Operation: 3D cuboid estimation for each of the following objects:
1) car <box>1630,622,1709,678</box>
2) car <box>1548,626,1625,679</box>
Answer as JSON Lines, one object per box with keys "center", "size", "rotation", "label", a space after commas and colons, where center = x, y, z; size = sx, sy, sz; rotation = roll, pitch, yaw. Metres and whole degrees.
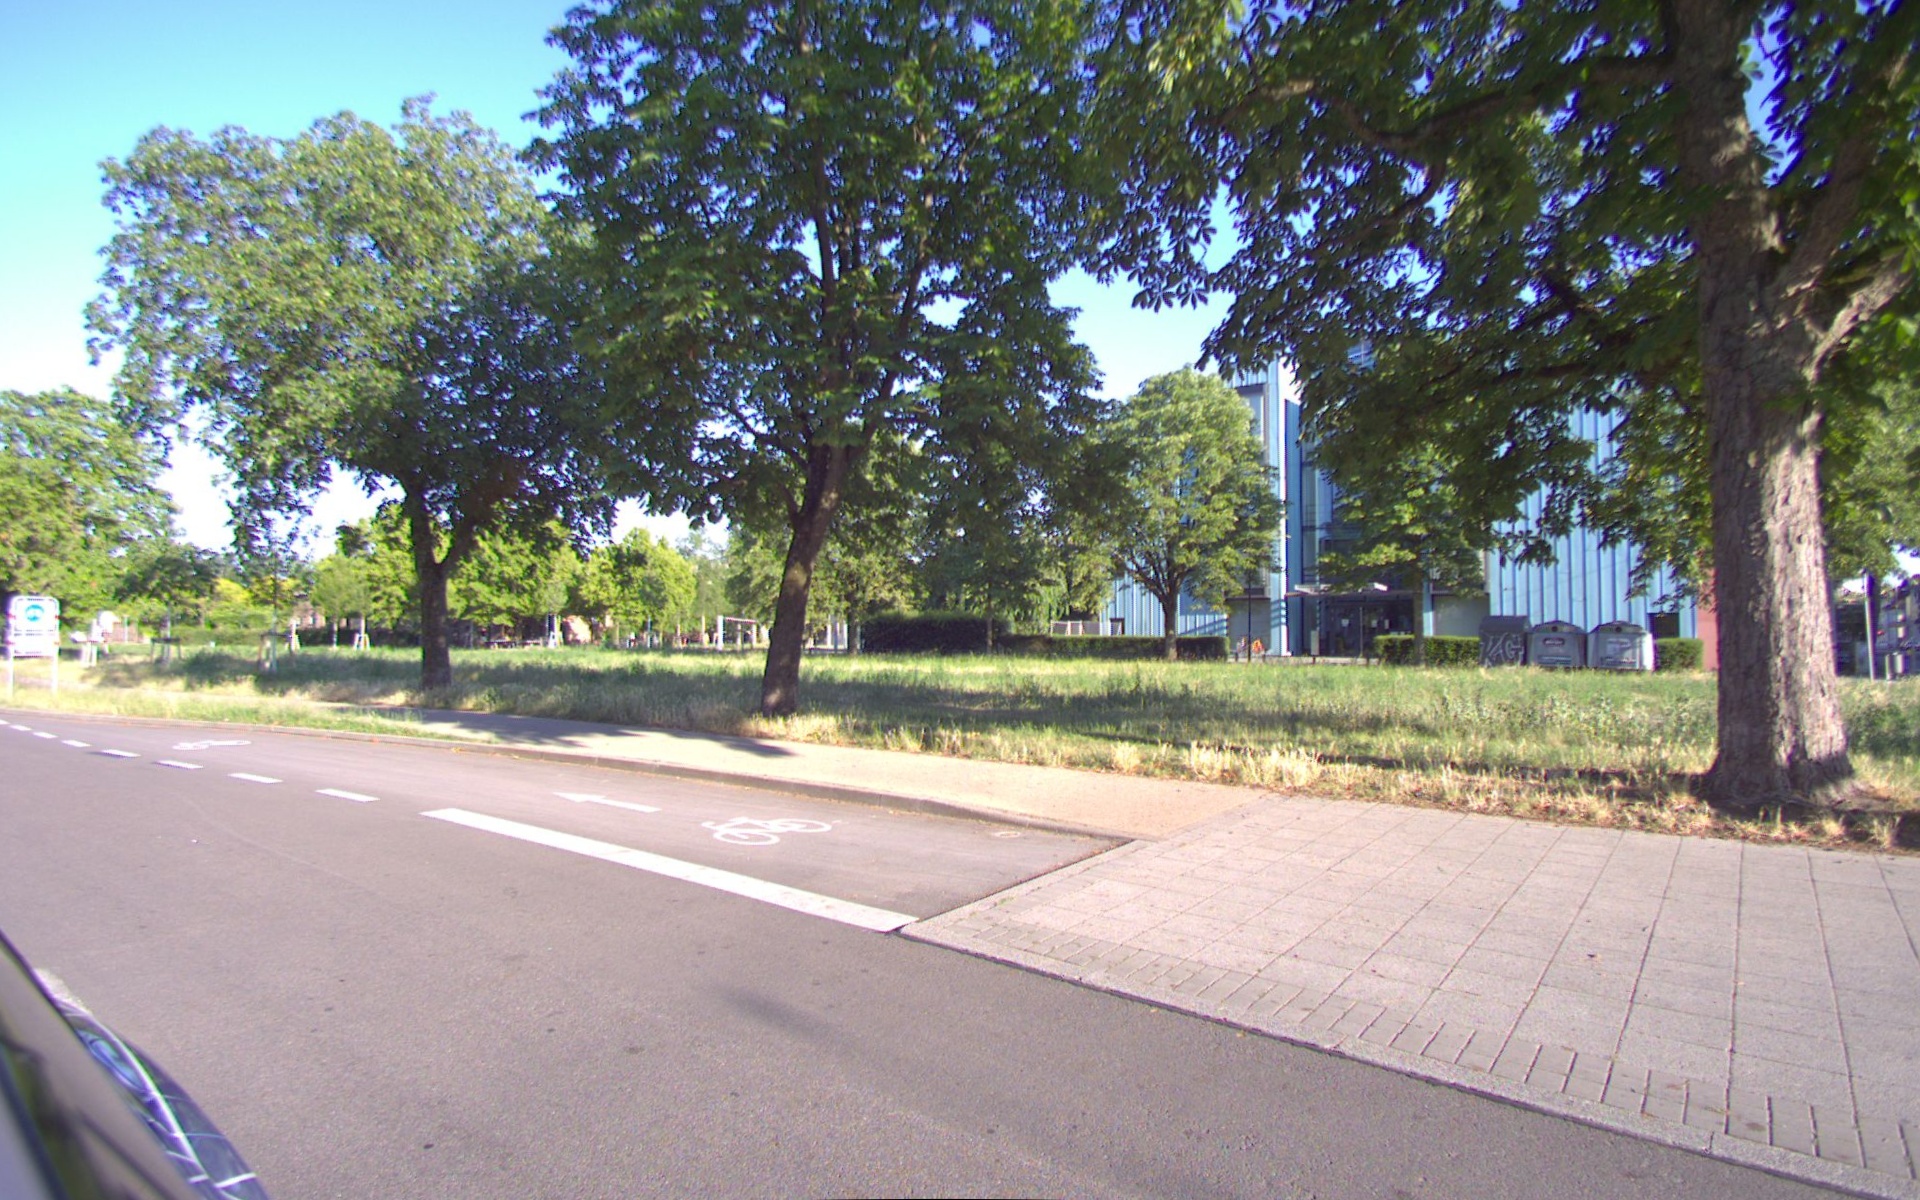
{"center": [23.684, 1.695, 33.701], "size": [1.996, 1.684, 5.158], "rotation": [-1, -4, 37], "label": "car"}
{"center": [21.804, 1.790, 35.111], "size": [1.963, 1.684, 5.161], "rotation": [-2, -3, 35], "label": "car"}
